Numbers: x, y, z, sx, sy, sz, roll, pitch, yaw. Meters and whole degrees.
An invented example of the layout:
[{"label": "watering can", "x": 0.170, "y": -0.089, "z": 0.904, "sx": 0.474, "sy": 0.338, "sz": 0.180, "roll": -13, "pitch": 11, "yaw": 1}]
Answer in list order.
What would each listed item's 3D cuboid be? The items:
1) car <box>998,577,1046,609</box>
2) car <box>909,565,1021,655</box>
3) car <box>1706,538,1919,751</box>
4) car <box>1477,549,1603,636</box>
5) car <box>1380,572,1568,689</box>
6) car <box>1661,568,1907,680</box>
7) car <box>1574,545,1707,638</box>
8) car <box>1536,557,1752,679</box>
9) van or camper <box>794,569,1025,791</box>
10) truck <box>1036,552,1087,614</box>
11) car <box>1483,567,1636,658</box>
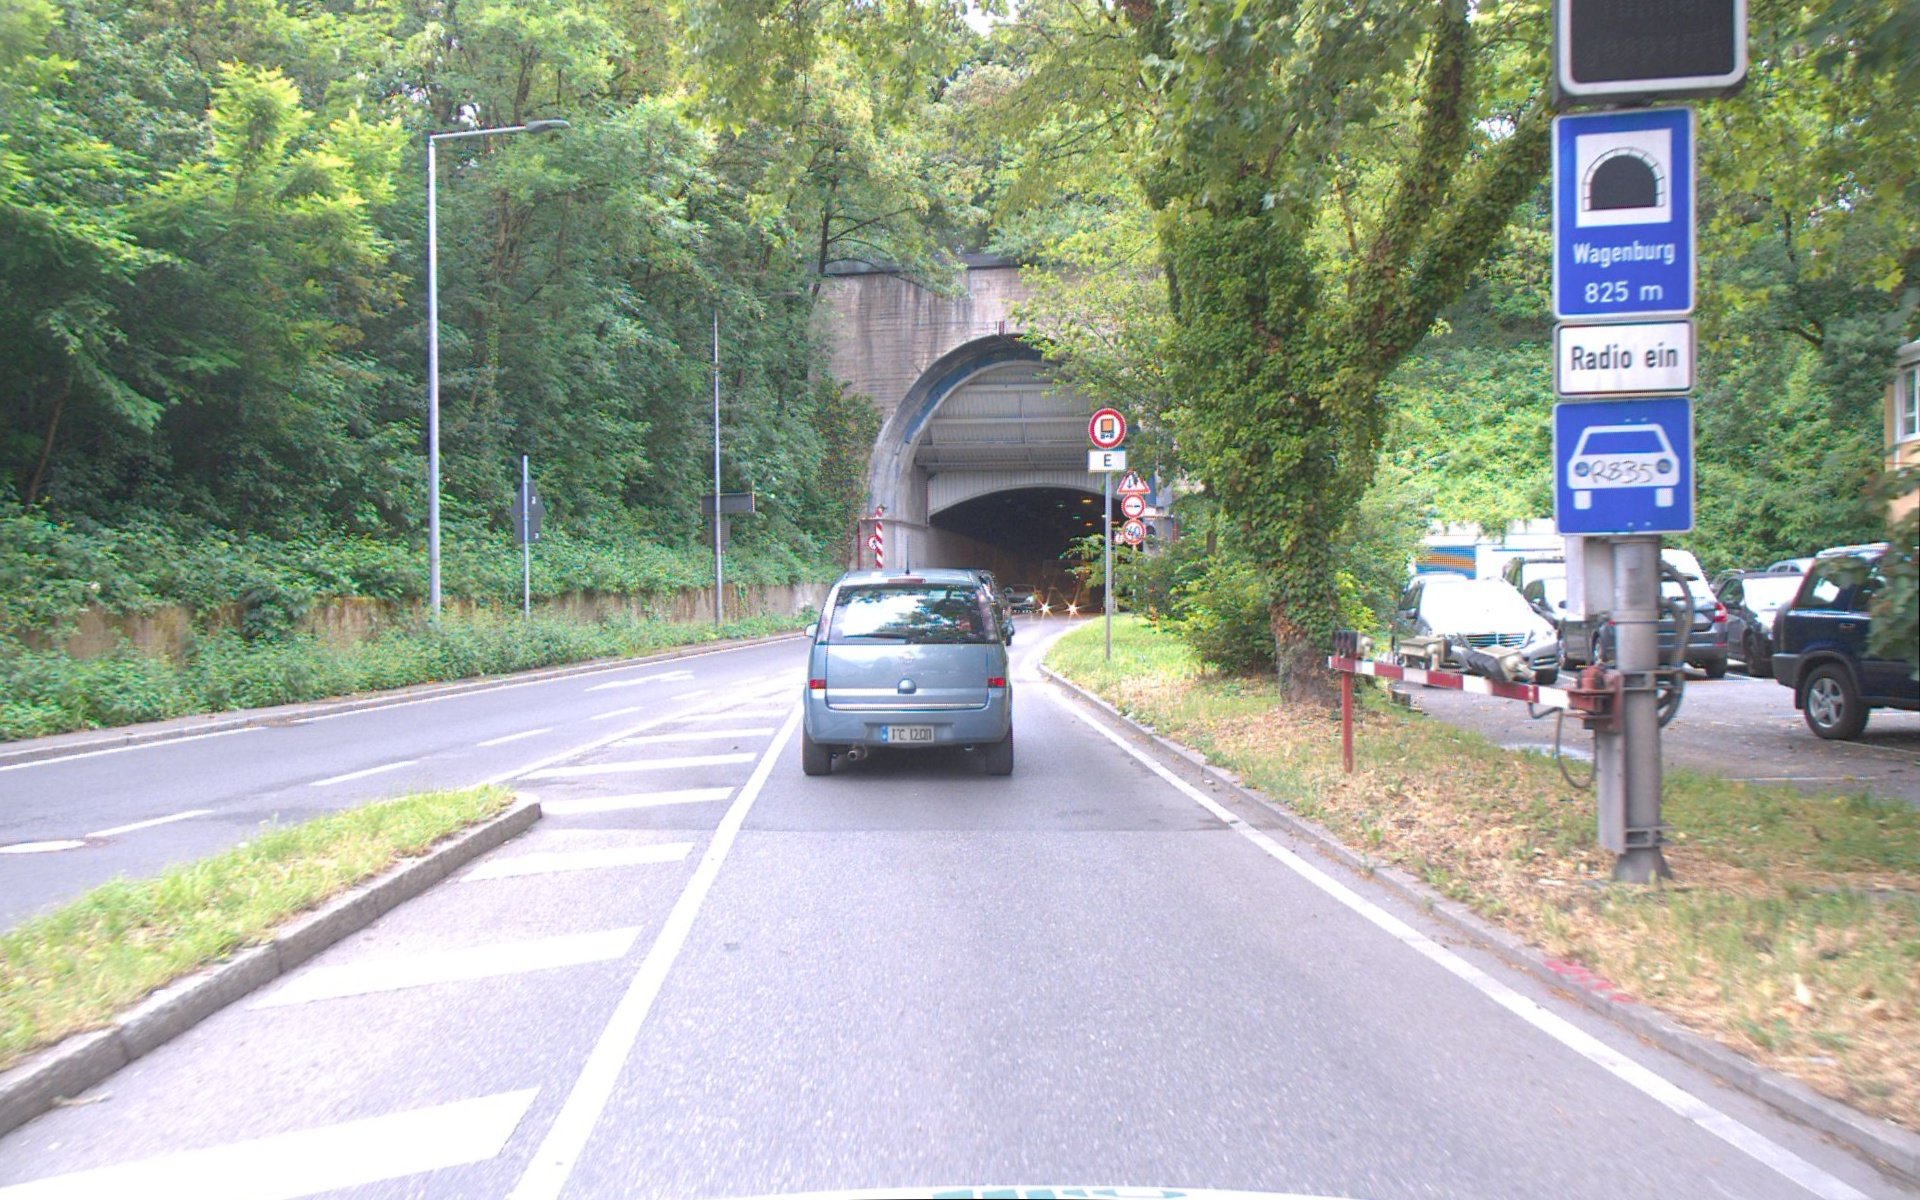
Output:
[{"label": "car", "x": 3.089, "y": -0.360, "z": 81.619, "sx": 1.828, "sy": 1.395, "sz": 4.460, "roll": -2, "pitch": 1, "yaw": 9}, {"label": "car", "x": 0.172, "y": 0.166, "z": 35.253, "sx": 1.951, "sy": 1.682, "sz": 4.003, "roll": -2, "pitch": 2, "yaw": 5}, {"label": "car", "x": 8.467, "y": 0.311, "z": 13.484, "sx": 1.777, "sy": 1.694, "sz": 4.870, "roll": -3, "pitch": 0, "yaw": -12}, {"label": "car", "x": 13.784, "y": -0.188, "z": 39.589, "sx": 1.817, "sy": 1.911, "sz": 4.889, "roll": -1, "pitch": 0, "yaw": 7}, {"label": "car", "x": 7.434, "y": 0.361, "z": 24.385, "sx": 1.747, "sy": 1.467, "sz": 5.067, "roll": -2, "pitch": 1, "yaw": 7}, {"label": "car", "x": 11.794, "y": 0.272, "z": 24.027, "sx": 1.747, "sy": 1.402, "sz": 4.598, "roll": -2, "pitch": 1, "yaw": 7}, {"label": "car", "x": 15.984, "y": -0.206, "z": 39.085, "sx": 1.817, "sy": 2.049, "sz": 4.566, "roll": -1, "pitch": 0, "yaw": 8}, {"label": "car", "x": 9.915, "y": 0.191, "z": 24.338, "sx": 1.747, "sy": 1.585, "sz": 4.598, "roll": -2, "pitch": 1, "yaw": 7}, {"label": "van or camper", "x": -0.443, "y": 0.559, "z": 14.029, "sx": 1.700, "sy": 1.605, "sz": 3.645, "roll": 0, "pitch": 1, "yaw": -2}, {"label": "truck", "x": 6.470, "y": -1.057, "z": 104.323, "sx": 2.618, "sy": 3.731, "sz": 7.524, "roll": 0, "pitch": 0, "yaw": 8}, {"label": "car", "x": 10.637, "y": 0.201, "z": 29.591, "sx": 1.706, "sy": 1.467, "sz": 3.901, "roll": -2, "pitch": 0, "yaw": 7}]
